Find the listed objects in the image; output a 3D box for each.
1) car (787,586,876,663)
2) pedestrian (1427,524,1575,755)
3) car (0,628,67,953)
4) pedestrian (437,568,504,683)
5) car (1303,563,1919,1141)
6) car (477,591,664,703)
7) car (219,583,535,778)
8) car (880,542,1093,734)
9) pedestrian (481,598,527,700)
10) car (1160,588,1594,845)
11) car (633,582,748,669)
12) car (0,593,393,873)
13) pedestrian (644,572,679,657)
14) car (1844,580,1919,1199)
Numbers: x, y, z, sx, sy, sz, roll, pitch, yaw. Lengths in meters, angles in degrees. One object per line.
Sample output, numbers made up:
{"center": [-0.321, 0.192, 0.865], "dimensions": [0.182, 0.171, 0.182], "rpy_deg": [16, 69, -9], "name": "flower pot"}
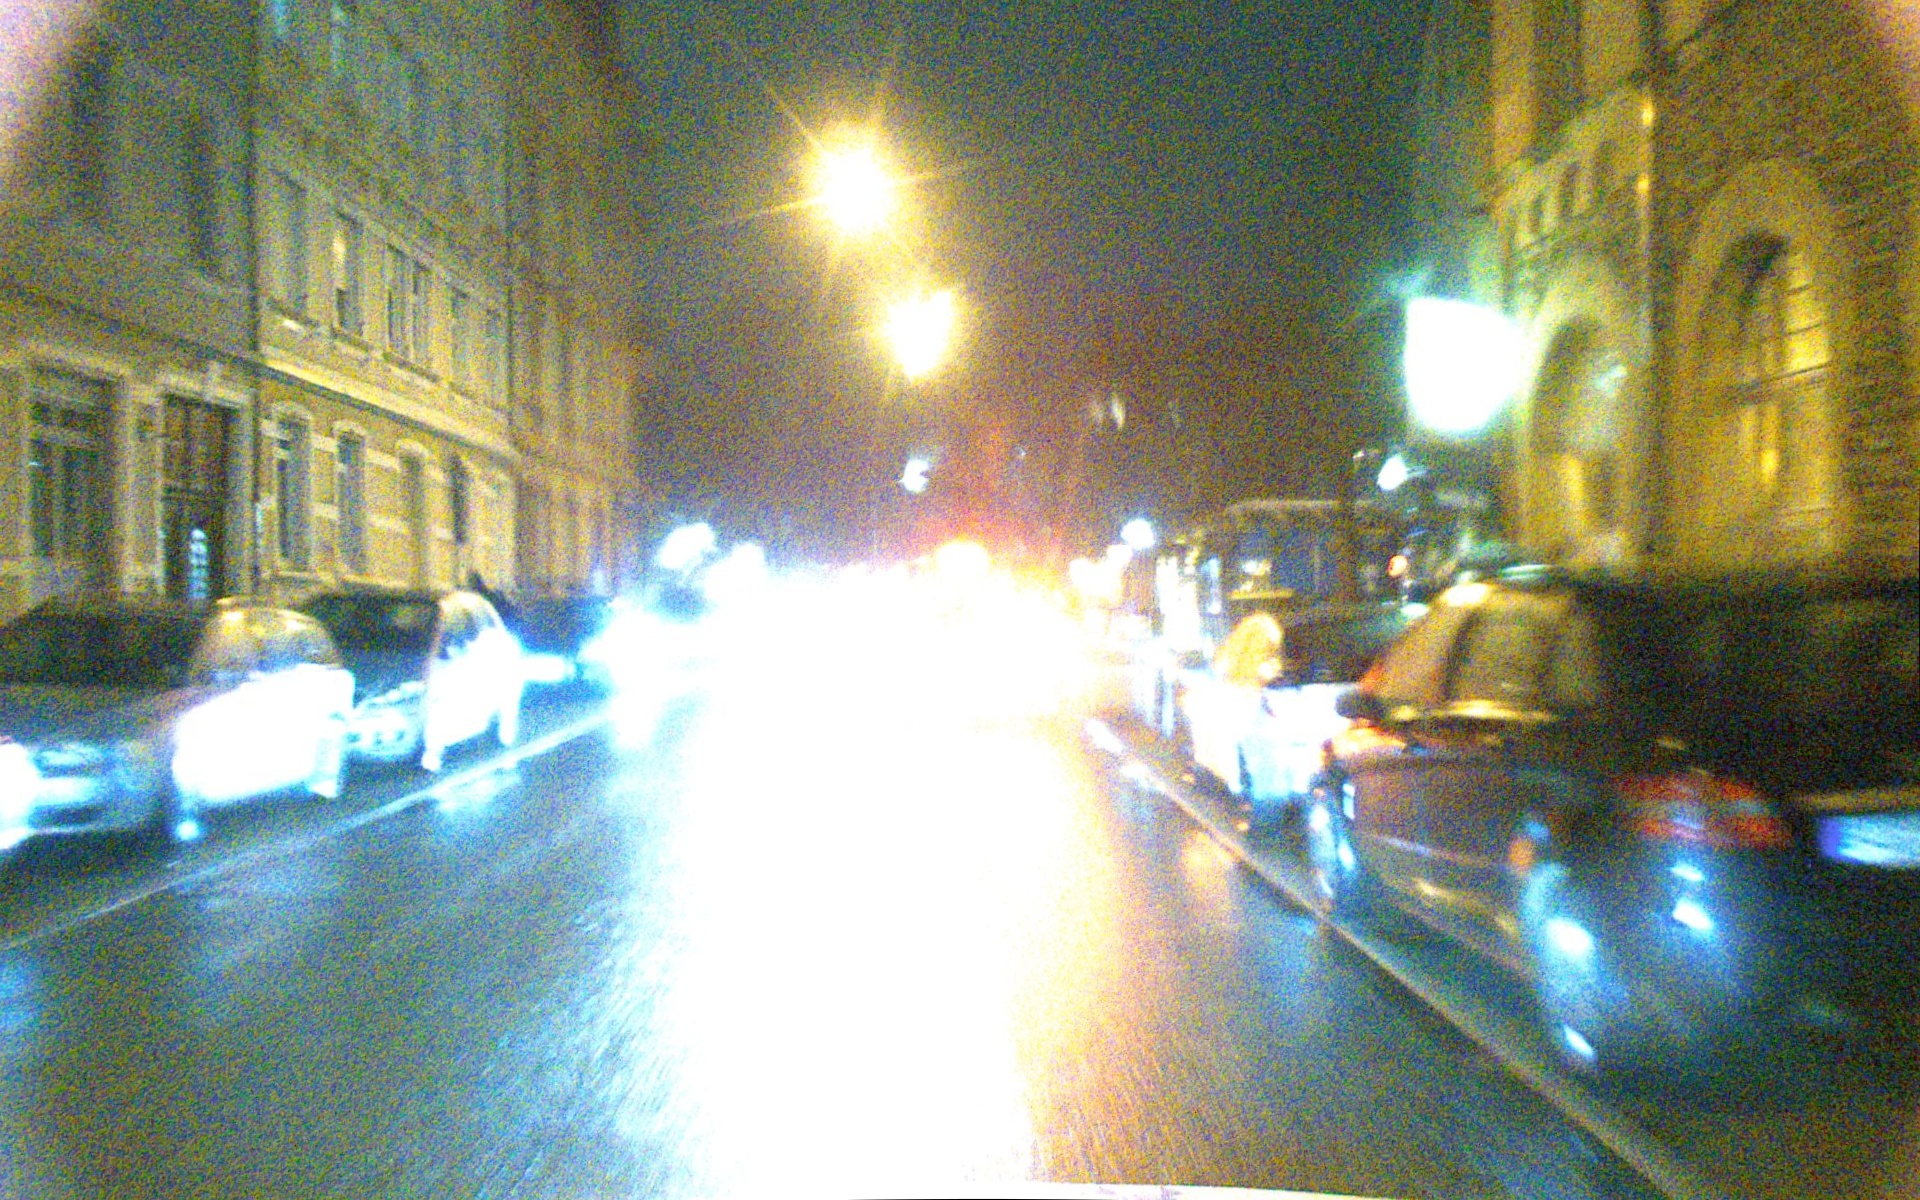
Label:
{"center": [-3.006, 0.532, 39.386], "dimensions": [1.882, 1.646, 4.572], "rpy_deg": [-2, 0, -2], "name": "car"}
{"center": [4.480, 0.307, 13.768], "dimensions": [0.844, 1.819, 1.083], "rpy_deg": [-2, 1, 2], "name": "pedestrian"}
{"center": [-5.055, 0.834, 5.548], "dimensions": [1.785, 1.414, 4.424], "rpy_deg": [0, 0, -1], "name": "car"}
{"center": [-8.096, 0.418, 27.391], "dimensions": [0.727, 1.836, 0.987], "rpy_deg": [2, -1, 2], "name": "pedestrian"}
{"center": [2.610, 0.664, 6.375], "dimensions": [1.655, 1.524, 3.890], "rpy_deg": [-1, 0, -2], "name": "car"}
{"center": [-5.743, 0.645, 24.926], "dimensions": [1.795, 1.512, 4.593], "rpy_deg": [0, 0, -1], "name": "car"}
{"center": [-5.349, 0.669, 15.681], "dimensions": [1.710, 1.616, 3.765], "rpy_deg": [0, 0, -1], "name": "car"}
{"center": [0.466, 0.408, 20.397], "dimensions": [1.953, 2.085, 4.698], "rpy_deg": [0, 0, 9], "name": "car"}
{"center": [-7.231, 0.764, 26.219], "dimensions": [0.645, 1.579, 0.759], "rpy_deg": [2, -1, -16], "name": "pedestrian"}
{"center": [2.633, 0.665, 11.471], "dimensions": [1.879, 1.436, 3.998], "rpy_deg": [-1, 0, -2], "name": "car"}
{"center": [-5.748, 0.516, 35.806], "dimensions": [1.795, 1.747, 4.593], "rpy_deg": [0, 0, -1], "name": "car"}
{"center": [-5.397, 0.720, 11.055], "dimensions": [1.795, 1.507, 4.306], "rpy_deg": [0, 0, -1], "name": "car"}
{"center": [-7.168, 0.355, 39.743], "dimensions": [0.643, 2.008, 0.770], "rpy_deg": [2, -1, -2], "name": "pedestrian"}
{"center": [2.685, 0.712, 1.303], "dimensions": [1.656, 1.524, 3.887], "rpy_deg": [-1, 0, -5], "name": "car"}
